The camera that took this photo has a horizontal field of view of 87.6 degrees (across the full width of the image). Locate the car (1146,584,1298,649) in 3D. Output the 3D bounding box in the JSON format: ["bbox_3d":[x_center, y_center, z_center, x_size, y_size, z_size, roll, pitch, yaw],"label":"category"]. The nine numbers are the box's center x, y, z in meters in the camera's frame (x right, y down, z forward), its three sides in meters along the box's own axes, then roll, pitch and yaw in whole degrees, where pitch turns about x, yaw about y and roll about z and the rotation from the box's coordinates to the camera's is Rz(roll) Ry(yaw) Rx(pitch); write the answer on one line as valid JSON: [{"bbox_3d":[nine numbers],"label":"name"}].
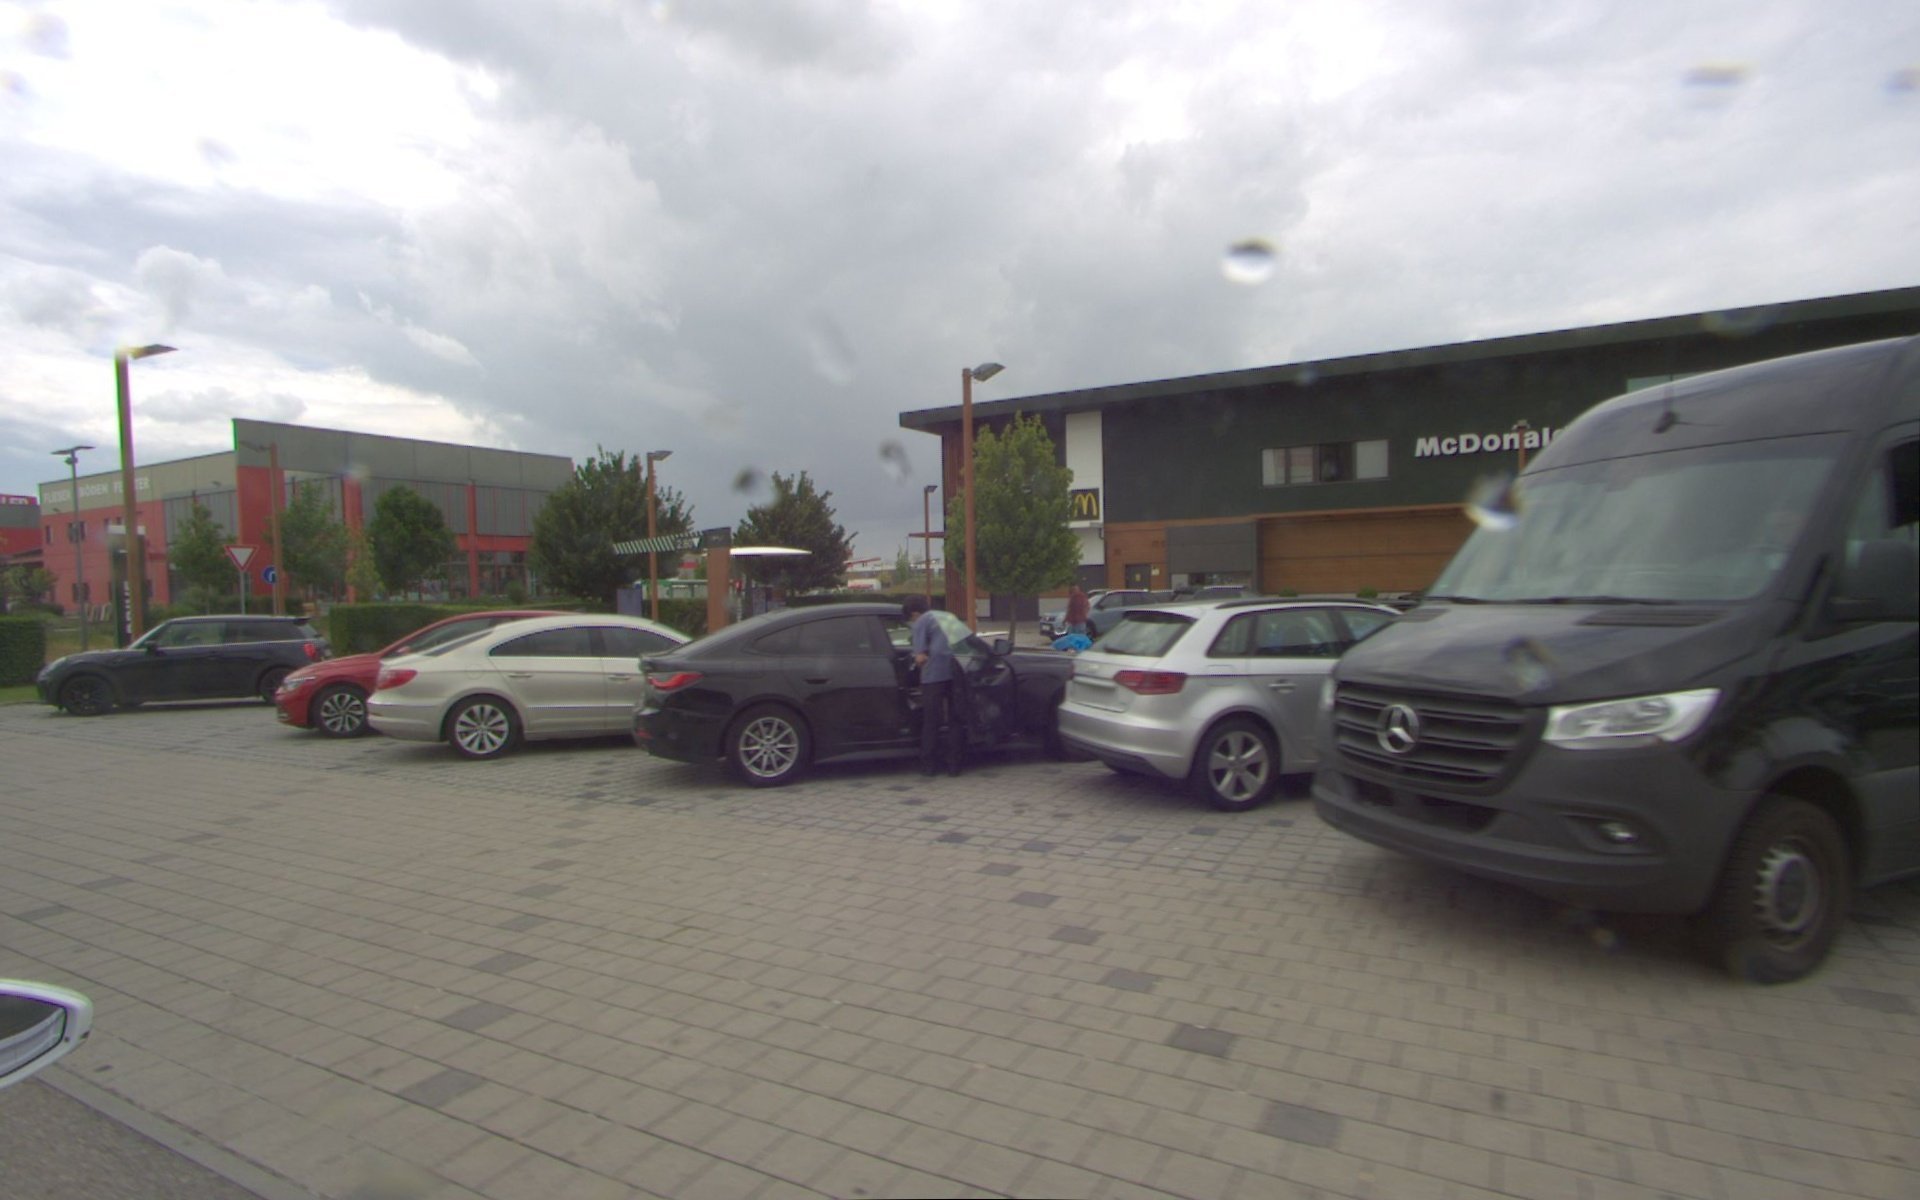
[{"bbox_3d":[7.732,0.440,29.571,3.934,1.774,1.993,-1,2,-23],"label":"car"}]

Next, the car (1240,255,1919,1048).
[{"bbox_3d":[5.061,0.110,5.387,6.892,2.587,2.068,-1,1,-19],"label":"car"}]

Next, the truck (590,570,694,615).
[{"bbox_3d":[-34.016,-0.891,106.850,11.820,4.561,3.747,1,2,32],"label":"truck"}]

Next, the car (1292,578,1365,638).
[{"bbox_3d":[11.845,0.196,32.055,1.724,1.777,3.983,1,2,27],"label":"car"}]

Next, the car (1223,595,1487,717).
[{"bbox_3d":[5.912,0.742,15.554,1.738,1.531,3.991,0,2,-16],"label":"car"}]

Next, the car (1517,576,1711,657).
[{"bbox_3d":[16.065,0.344,24.622,4.186,1.685,1.892,-3,3,-21],"label":"car"}]

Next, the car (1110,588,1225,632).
[{"bbox_3d":[7.828,0.335,37.840,3.937,1.526,1.780,1,2,28],"label":"car"}]

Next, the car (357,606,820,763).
[{"bbox_3d":[-3.882,0.805,10.977,4.384,1.431,1.749,0,0,-20],"label":"car"}]

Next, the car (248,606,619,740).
[{"bbox_3d":[-6.458,0.838,12.784,3.930,1.483,1.683,0,0,-18],"label":"car"}]

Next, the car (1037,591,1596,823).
[{"bbox_3d":[2.743,0.686,7.841,3.930,1.471,1.683,0,0,-18],"label":"car"}]

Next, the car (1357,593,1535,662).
[{"bbox_3d":[12.724,0.675,26.269,4.019,1.595,1.834,-2,2,-16],"label":"car"}]

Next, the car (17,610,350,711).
[{"bbox_3d":[-12.202,0.891,16.059,3.865,1.431,1.682,0,0,-22],"label":"car"}]

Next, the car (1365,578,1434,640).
[{"bbox_3d":[13.669,0.209,31.059,1.724,1.777,3.983,1,2,27],"label":"car"}]

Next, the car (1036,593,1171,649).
[{"bbox_3d":[4.477,0.609,31.190,3.843,1.606,1.743,-1,2,-25],"label":"car"}]

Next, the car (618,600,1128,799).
[{"bbox_3d":[-0.802,0.765,9.112,4.330,1.483,1.683,0,0,-19],"label":"car"}]

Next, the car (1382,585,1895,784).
[{"bbox_3d":[6.717,0.722,10.532,4.121,1.713,1.804,1,2,25],"label":"car"}]

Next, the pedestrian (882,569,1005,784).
[{"bbox_3d":[-0.154,0.615,8.456,0.828,1.699,0.748,-1,0,-18],"label":"pedestrian"}]
